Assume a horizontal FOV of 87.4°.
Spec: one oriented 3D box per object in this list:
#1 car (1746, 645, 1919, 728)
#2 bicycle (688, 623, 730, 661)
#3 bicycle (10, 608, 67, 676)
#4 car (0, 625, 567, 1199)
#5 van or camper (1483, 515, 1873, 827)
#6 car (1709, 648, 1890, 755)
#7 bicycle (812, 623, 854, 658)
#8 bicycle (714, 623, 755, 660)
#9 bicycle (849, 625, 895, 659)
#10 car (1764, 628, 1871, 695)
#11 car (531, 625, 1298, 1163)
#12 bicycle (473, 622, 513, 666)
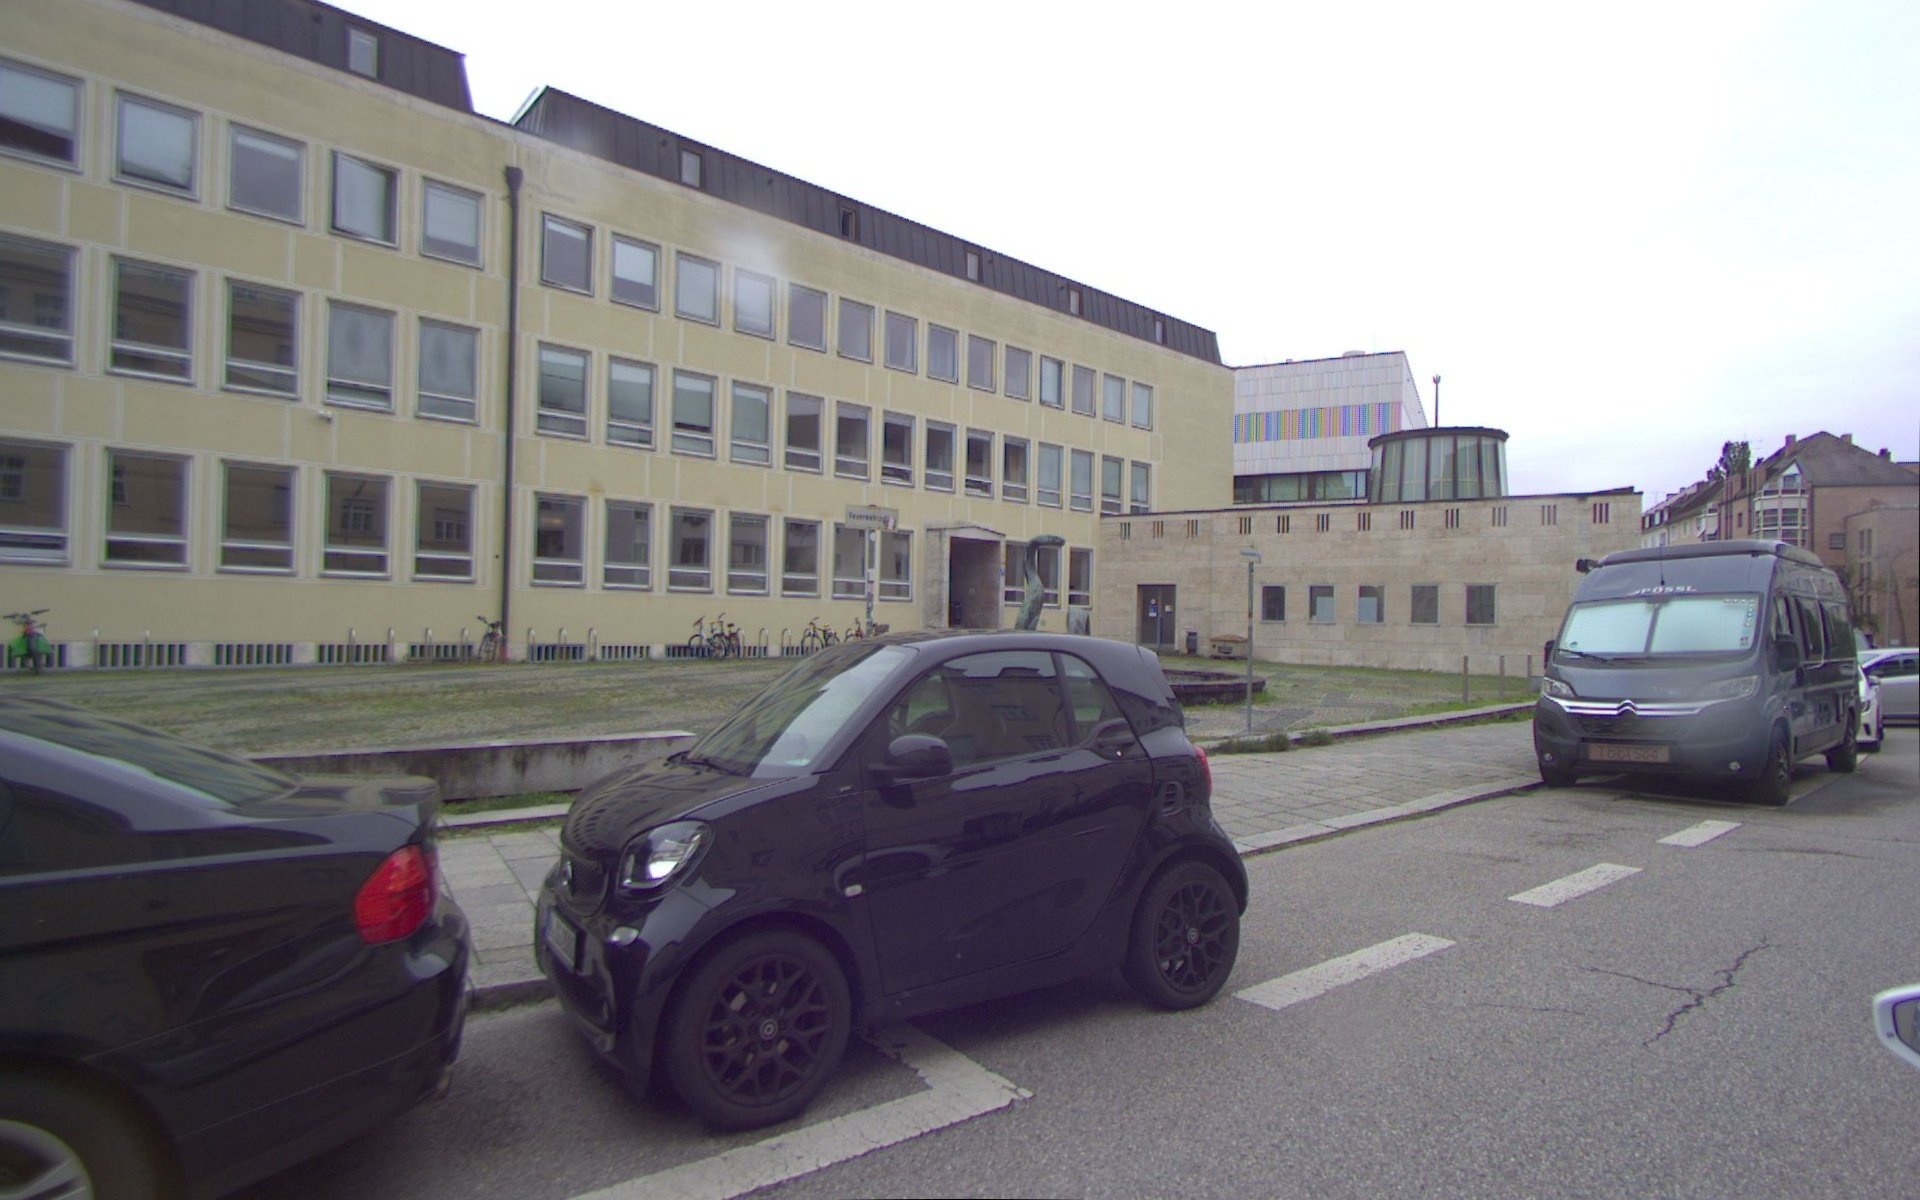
[{"bbox_3d":[17.945,1.657,19.560,3.732,1.527,1.716,-1,-3,13],"label":"car"},{"bbox_3d":[-6.827,1.124,27.288,0.411,0.957,1.456,2,0,-44],"label":"bicycle"},{"bbox_3d":[-16.589,0.733,18.065,0.698,1.110,1.827,2,0,-44],"label":"bicycle"},{"bbox_3d":[-3.321,0.805,2.076,4.419,1.484,1.764,2,-4,-33],"label":"car"},{"bbox_3d":[8.298,0.648,11.298,6.039,2.615,2.276,1,0,-42],"label":"van or camper"},{"bbox_3d":[13.543,1.531,16.149,1.972,1.469,4.192,-3,-4,42],"label":"car"},{"bbox_3d":[-3.783,1.201,29.845,0.411,0.957,1.456,2,0,-44],"label":"bicycle"},{"bbox_3d":[-6.278,1.140,27.914,0.411,0.957,1.456,2,0,-44],"label":"bicycle"},{"bbox_3d":[-2.694,1.279,30.743,0.411,0.957,1.690,2,0,-44],"label":"bicycle"},{"bbox_3d":[25.087,1.772,29.543,2.025,1.759,4.869,1,-2,36],"label":"car"},{"bbox_3d":[-0.136,0.888,4.229,2.856,1.484,1.511,2,-4,-33],"label":"car"},{"bbox_3d":[-10.910,1.011,23.445,0.411,0.957,1.393,2,0,-44],"label":"bicycle"}]
